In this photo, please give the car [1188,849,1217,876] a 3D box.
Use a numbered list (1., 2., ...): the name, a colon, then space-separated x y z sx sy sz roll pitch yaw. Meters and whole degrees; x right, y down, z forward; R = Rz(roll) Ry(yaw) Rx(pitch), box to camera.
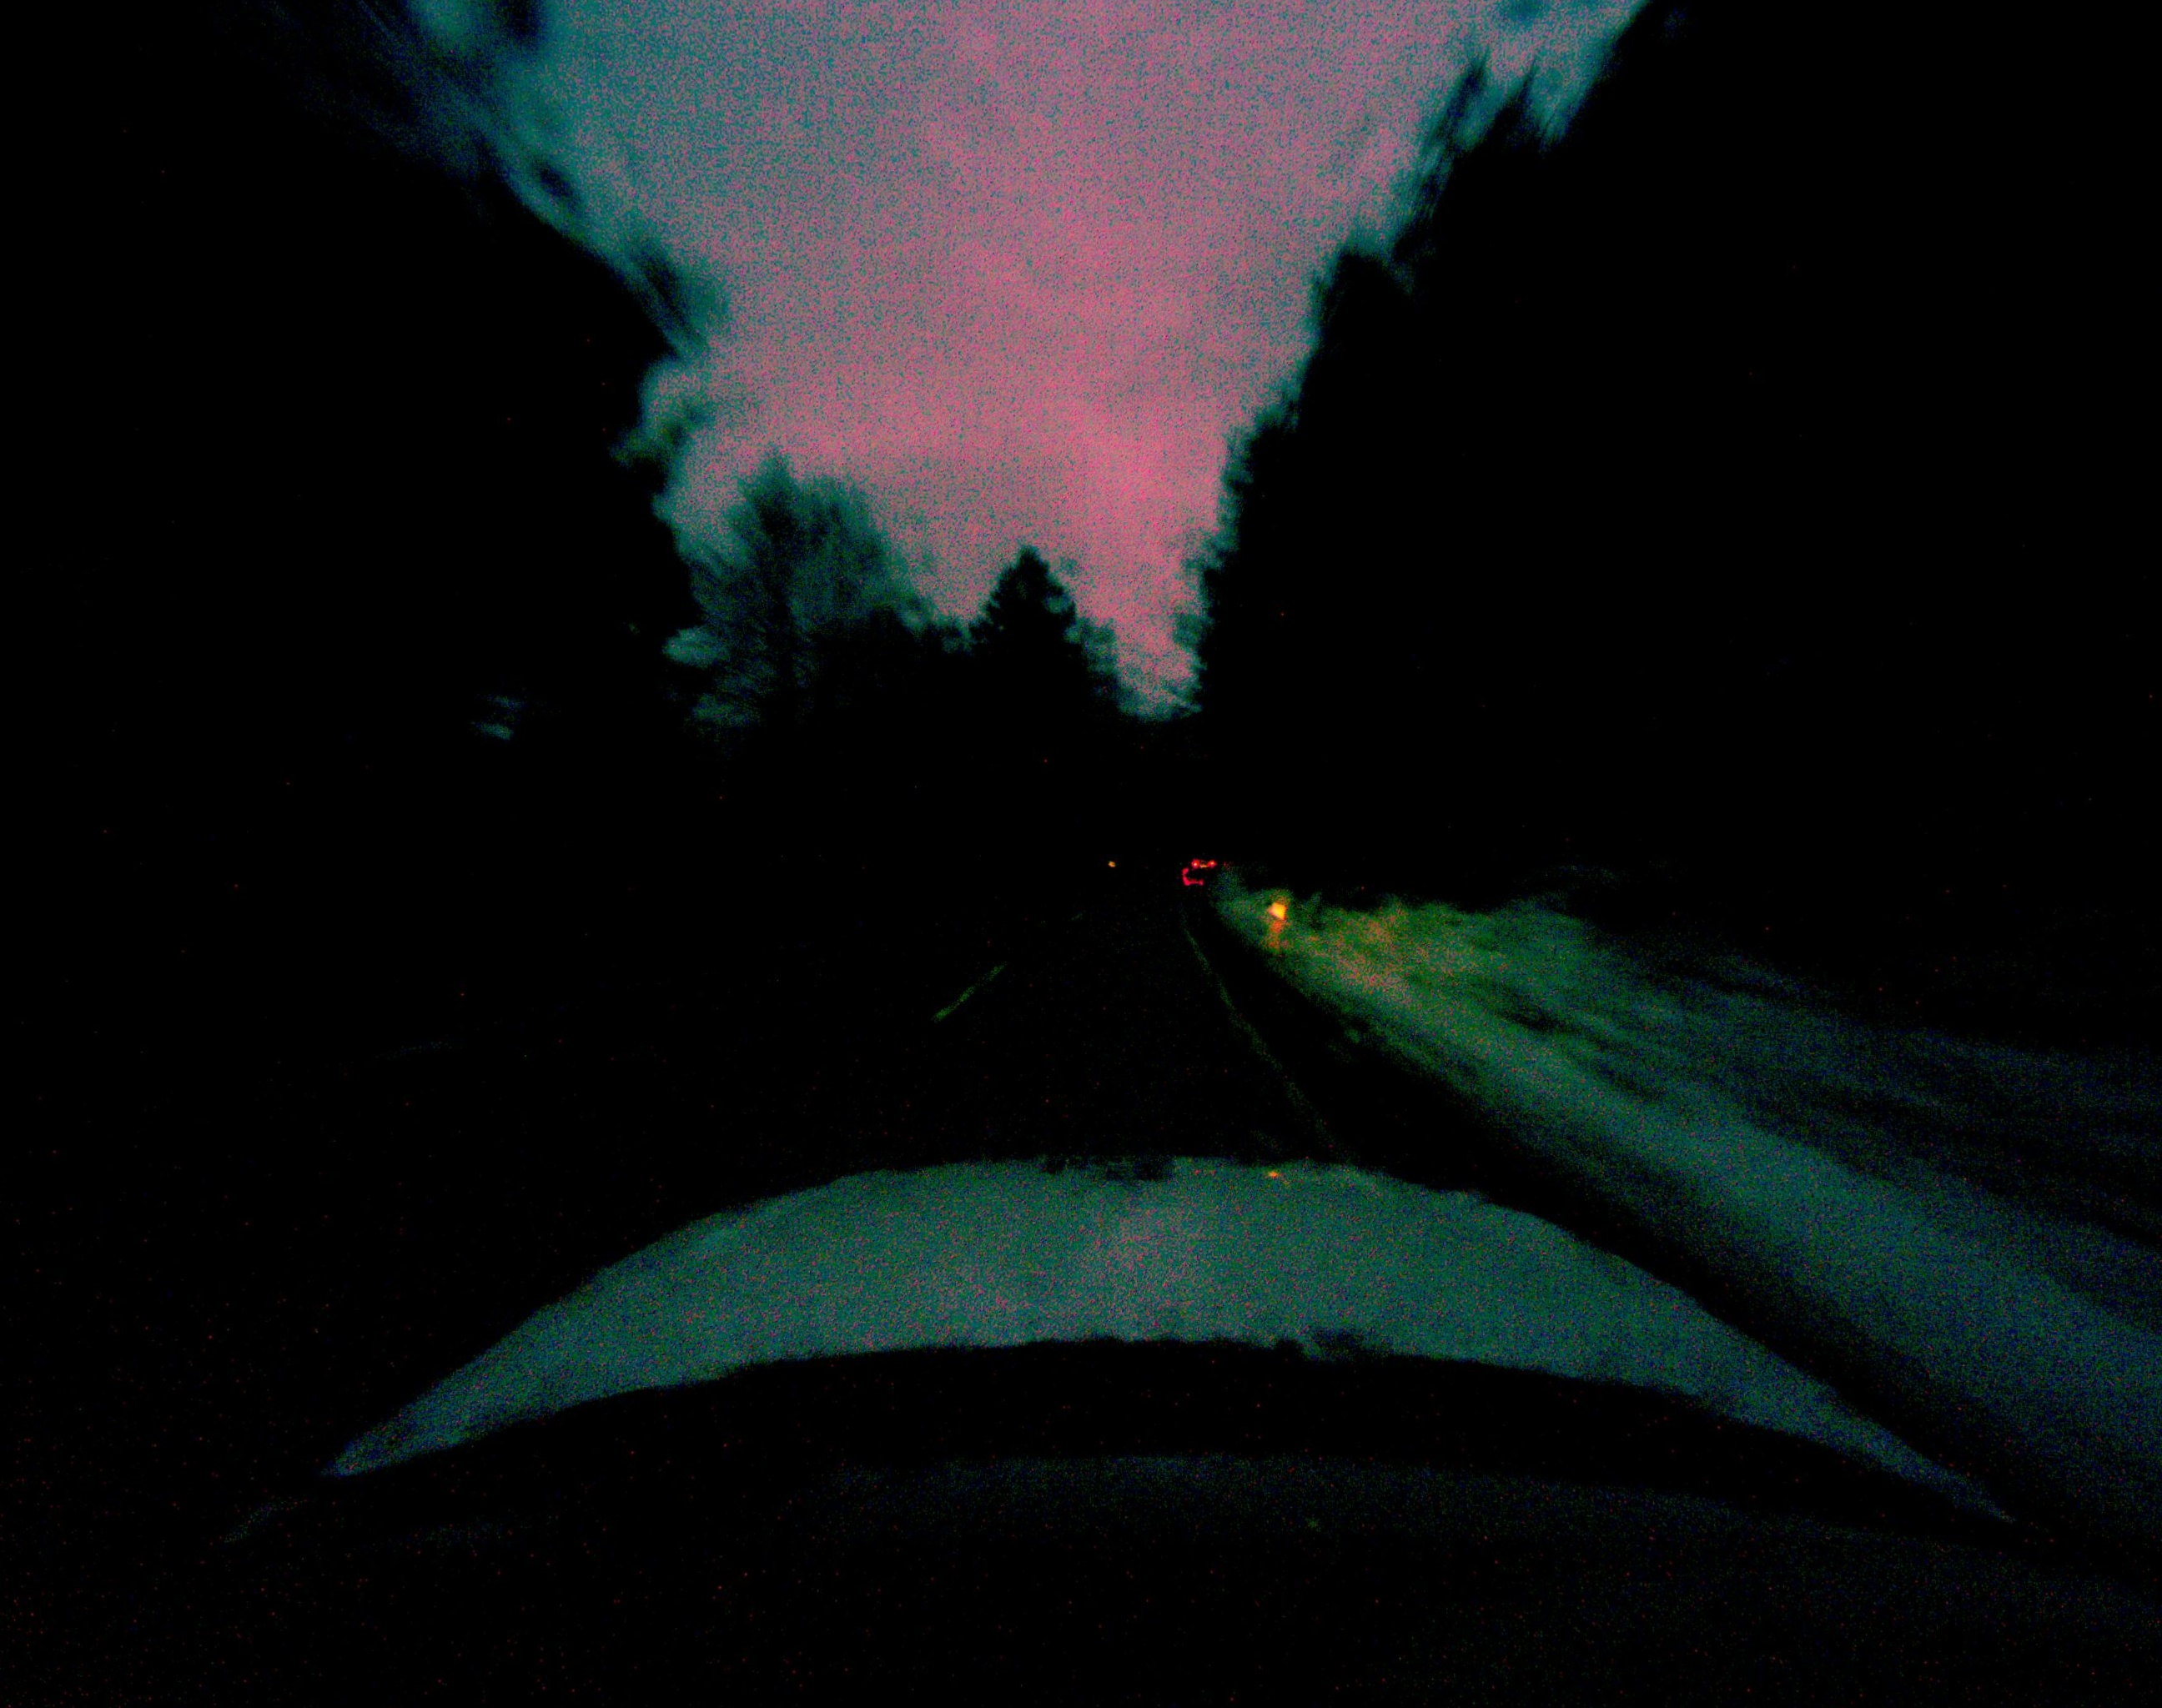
1. car: 9.297 0.601 62.395 1.983 1.872 4.008 -4 0 7
